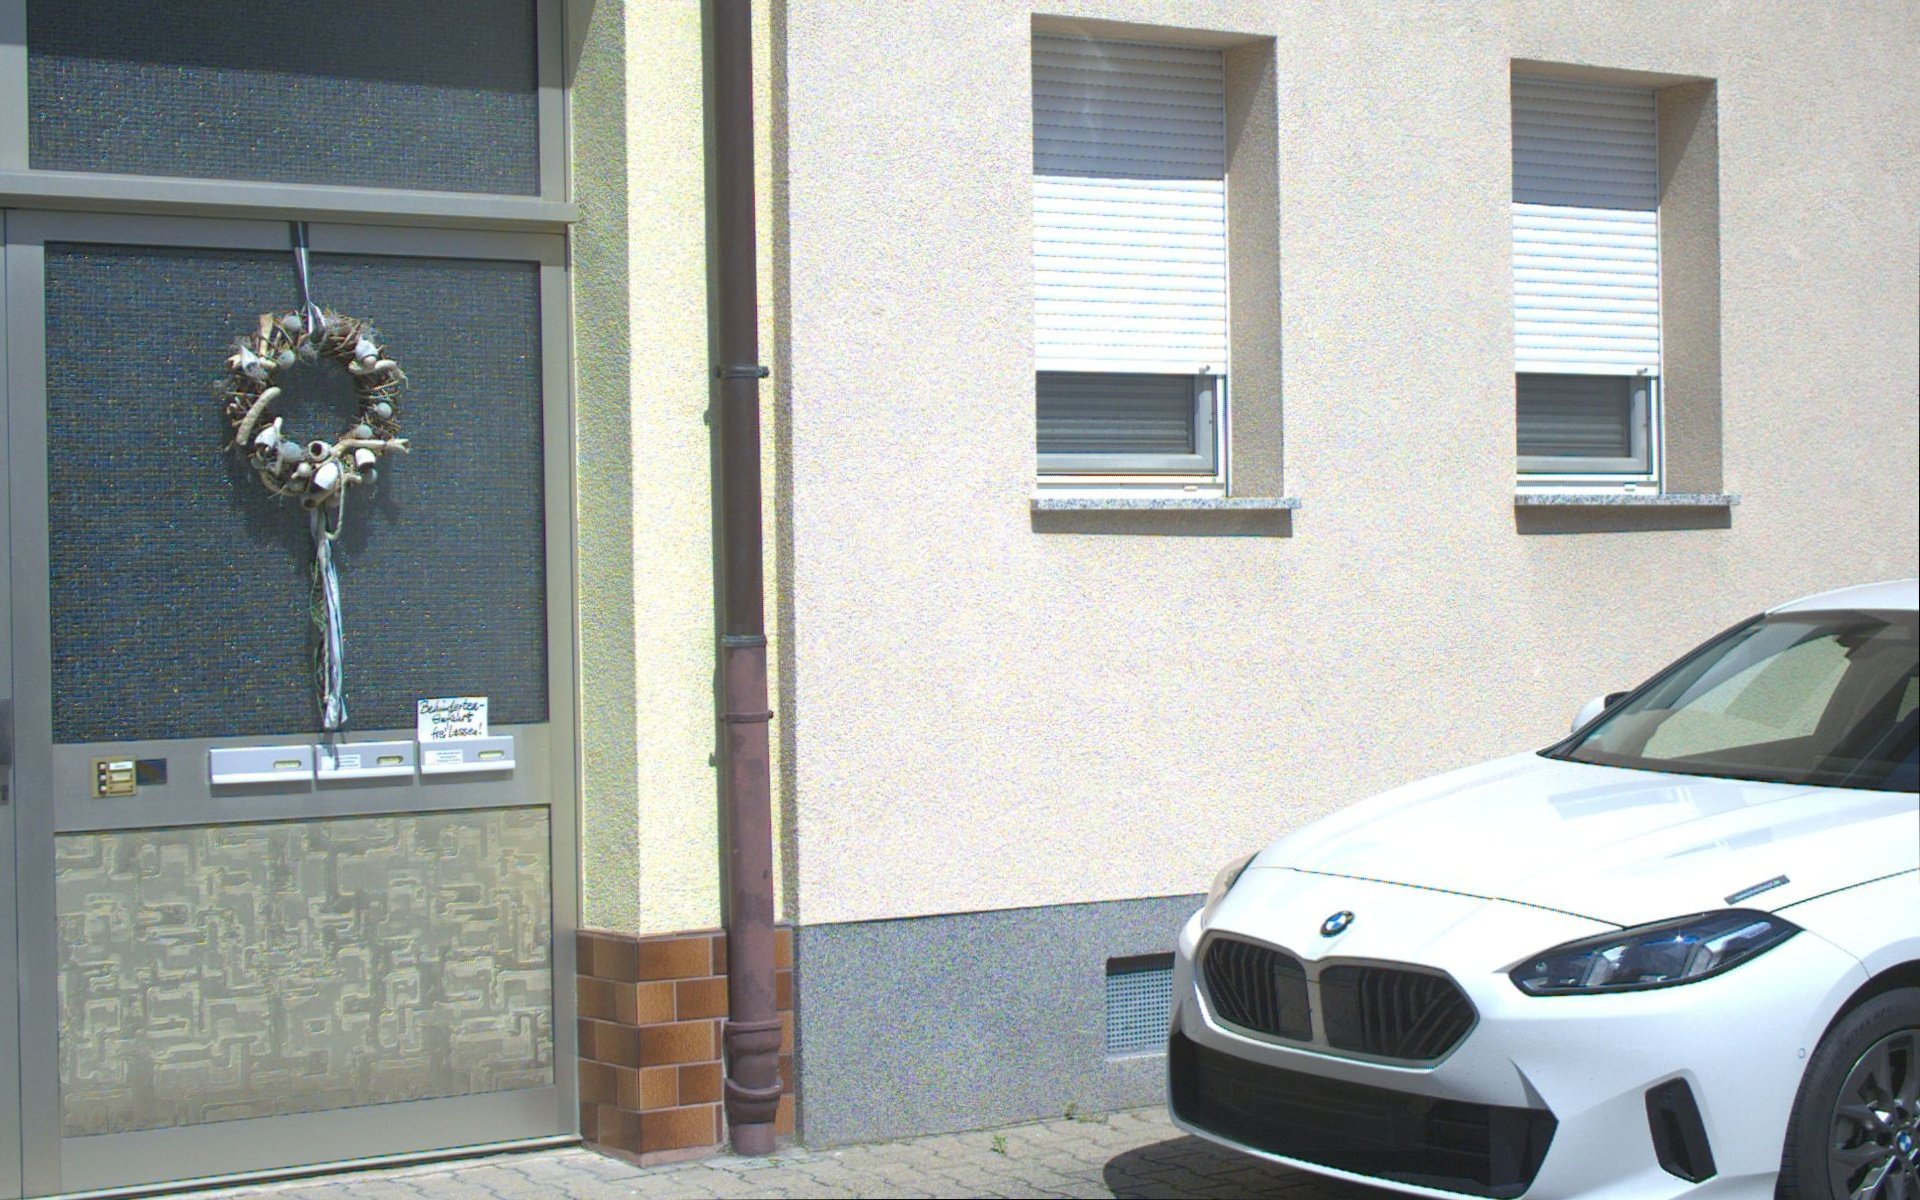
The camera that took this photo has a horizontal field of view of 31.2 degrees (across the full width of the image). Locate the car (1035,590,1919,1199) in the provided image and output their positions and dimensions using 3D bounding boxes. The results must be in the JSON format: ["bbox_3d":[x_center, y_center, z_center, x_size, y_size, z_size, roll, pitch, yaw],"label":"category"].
[{"bbox_3d":[2.432,0.699,8.398,4.202,1.449,1.788,-1,0,-33],"label":"car"}]
